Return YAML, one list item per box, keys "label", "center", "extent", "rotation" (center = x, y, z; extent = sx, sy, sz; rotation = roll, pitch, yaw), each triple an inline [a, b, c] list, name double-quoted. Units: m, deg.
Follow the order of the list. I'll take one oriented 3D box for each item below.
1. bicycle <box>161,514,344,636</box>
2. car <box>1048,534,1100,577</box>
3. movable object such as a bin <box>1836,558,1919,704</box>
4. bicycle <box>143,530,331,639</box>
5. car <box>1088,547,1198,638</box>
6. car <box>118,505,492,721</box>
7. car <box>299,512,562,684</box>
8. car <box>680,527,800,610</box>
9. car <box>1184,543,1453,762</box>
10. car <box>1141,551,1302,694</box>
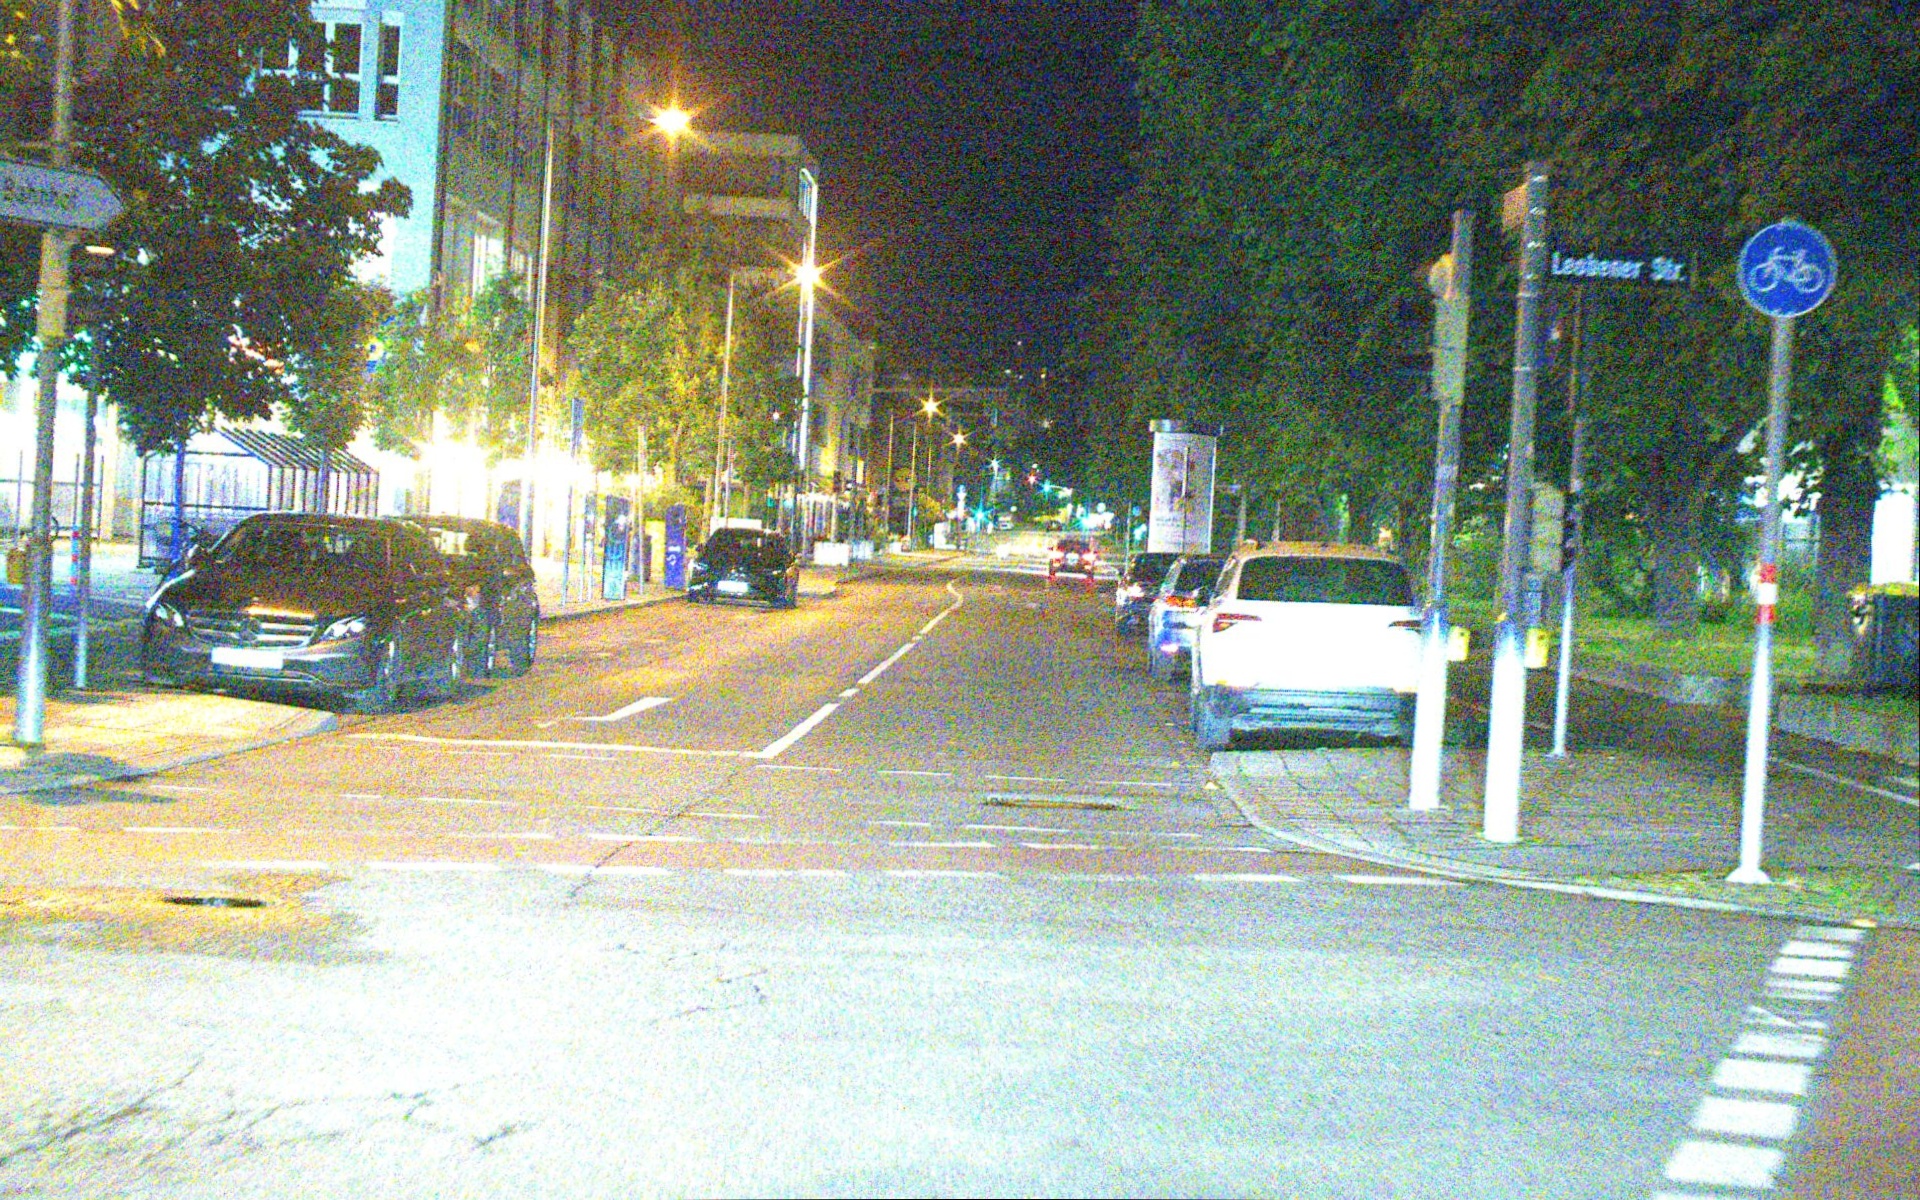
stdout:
- label: "bicycle"
  center: [-7.784, -0.277, 37.858]
  extent: [1.851, 1.249, 0.532]
  rotation: [3, 1, 1]
- label: "car"
  center: [4.603, -1.821, 139.465]
  extent: [1.993, 1.637, 4.000]
  rotation: [2, 1, 1]
- label: "movable object such as a bin"
  center: [9.338, 0.314, 33.701]
  extent: [1.160, 1.366, 0.993]
  rotation: [4, 1, 0]
- label: "bicycle"
  center: [-7.818, -0.170, 37.214]
  extent: [1.851, 1.031, 0.532]
  rotation: [5, 1, 1]
- label: "car"
  center: [3.115, -0.165, 59.104]
  extent: [1.764, 1.409, 4.807]
  rotation: [2, 1, 2]
- label: "car"
  center: [-5.104, 0.048, 27.471]
  extent: [1.807, 1.420, 4.921]
  rotation: [5, 1, 2]
- label: "car"
  center: [-5.061, -0.056, 33.345]
  extent: [1.722, 1.423, 3.976]
  rotation: [5, 1, 2]
- label: "car"
  center: [-4.132, -0.616, 65.220]
  extent: [1.741, 1.408, 4.495]
  rotation: [4, 1, 2]
- label: "car"
  center: [2.715, 0.341, 26.812]
  extent: [1.770, 1.531, 4.216]
  rotation: [1, 1, 2]
- label: "car"
  center: [3.030, 0.218, 40.472]
  extent: [1.690, 1.531, 4.015]
  rotation: [2, 1, 2]
